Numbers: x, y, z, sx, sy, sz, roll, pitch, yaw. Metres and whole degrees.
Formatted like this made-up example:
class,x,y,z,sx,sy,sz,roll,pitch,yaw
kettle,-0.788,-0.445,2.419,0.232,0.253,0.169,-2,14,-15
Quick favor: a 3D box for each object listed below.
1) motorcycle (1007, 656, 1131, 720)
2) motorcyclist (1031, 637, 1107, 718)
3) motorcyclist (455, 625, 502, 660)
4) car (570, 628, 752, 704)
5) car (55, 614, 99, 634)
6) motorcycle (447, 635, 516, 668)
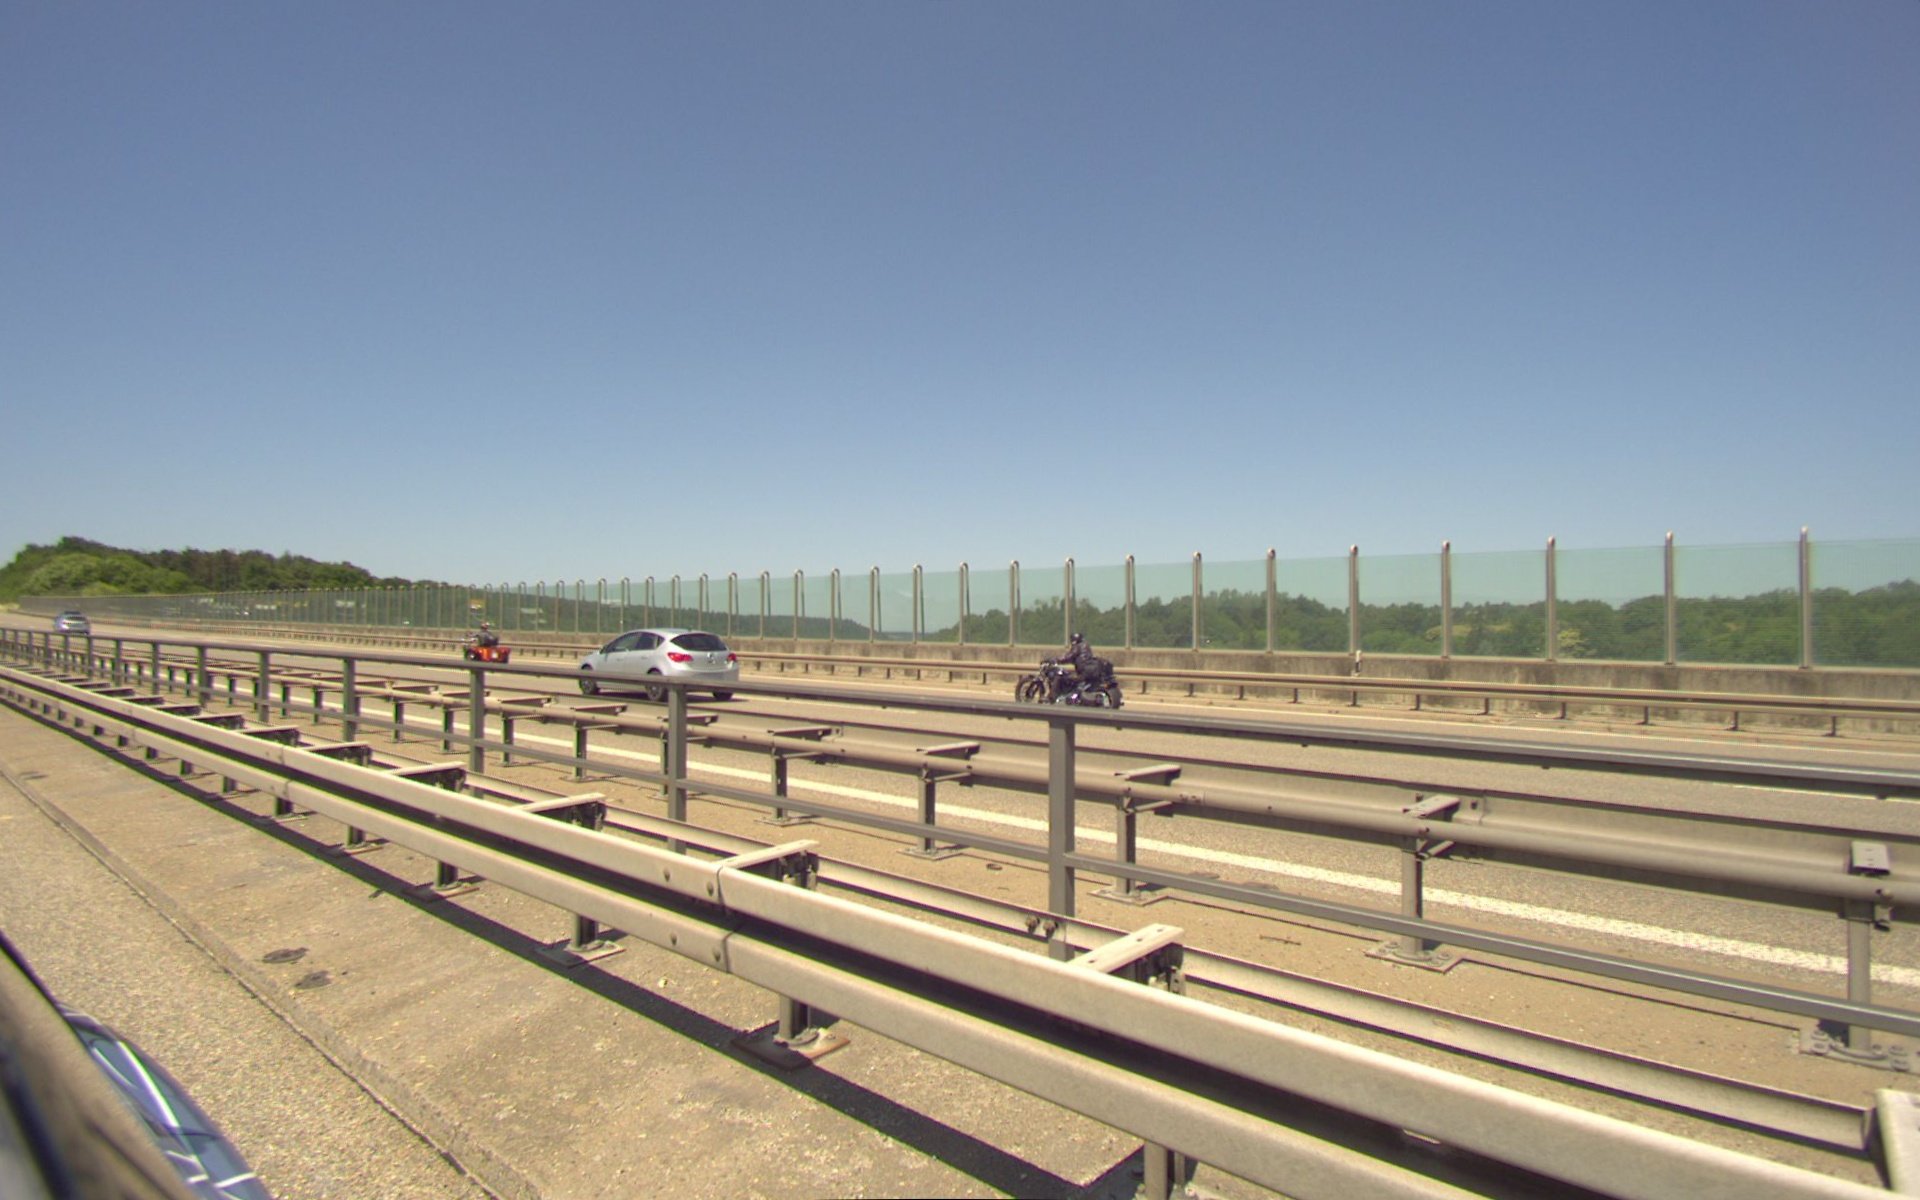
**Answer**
class,x,y,z,sx,sy,sz,roll,pitch,yaw
motorcycle,1.991,1.599,18.716,2.304,1.079,0.694,-2,-3,41
motorcyclist,2.011,1.406,18.702,1.082,1.452,0.888,-2,-3,41
motorcyclist,-17.702,1.555,37.230,1.118,1.266,1.174,-1,-4,41
car,-6.351,1.333,21.284,4.173,1.445,1.697,-2,-3,41
car,-65.736,1.802,75.311,4.163,1.405,1.890,0,-2,41
motorcycle,-17.549,1.884,37.114,2.575,1.108,1.351,-1,-4,41
